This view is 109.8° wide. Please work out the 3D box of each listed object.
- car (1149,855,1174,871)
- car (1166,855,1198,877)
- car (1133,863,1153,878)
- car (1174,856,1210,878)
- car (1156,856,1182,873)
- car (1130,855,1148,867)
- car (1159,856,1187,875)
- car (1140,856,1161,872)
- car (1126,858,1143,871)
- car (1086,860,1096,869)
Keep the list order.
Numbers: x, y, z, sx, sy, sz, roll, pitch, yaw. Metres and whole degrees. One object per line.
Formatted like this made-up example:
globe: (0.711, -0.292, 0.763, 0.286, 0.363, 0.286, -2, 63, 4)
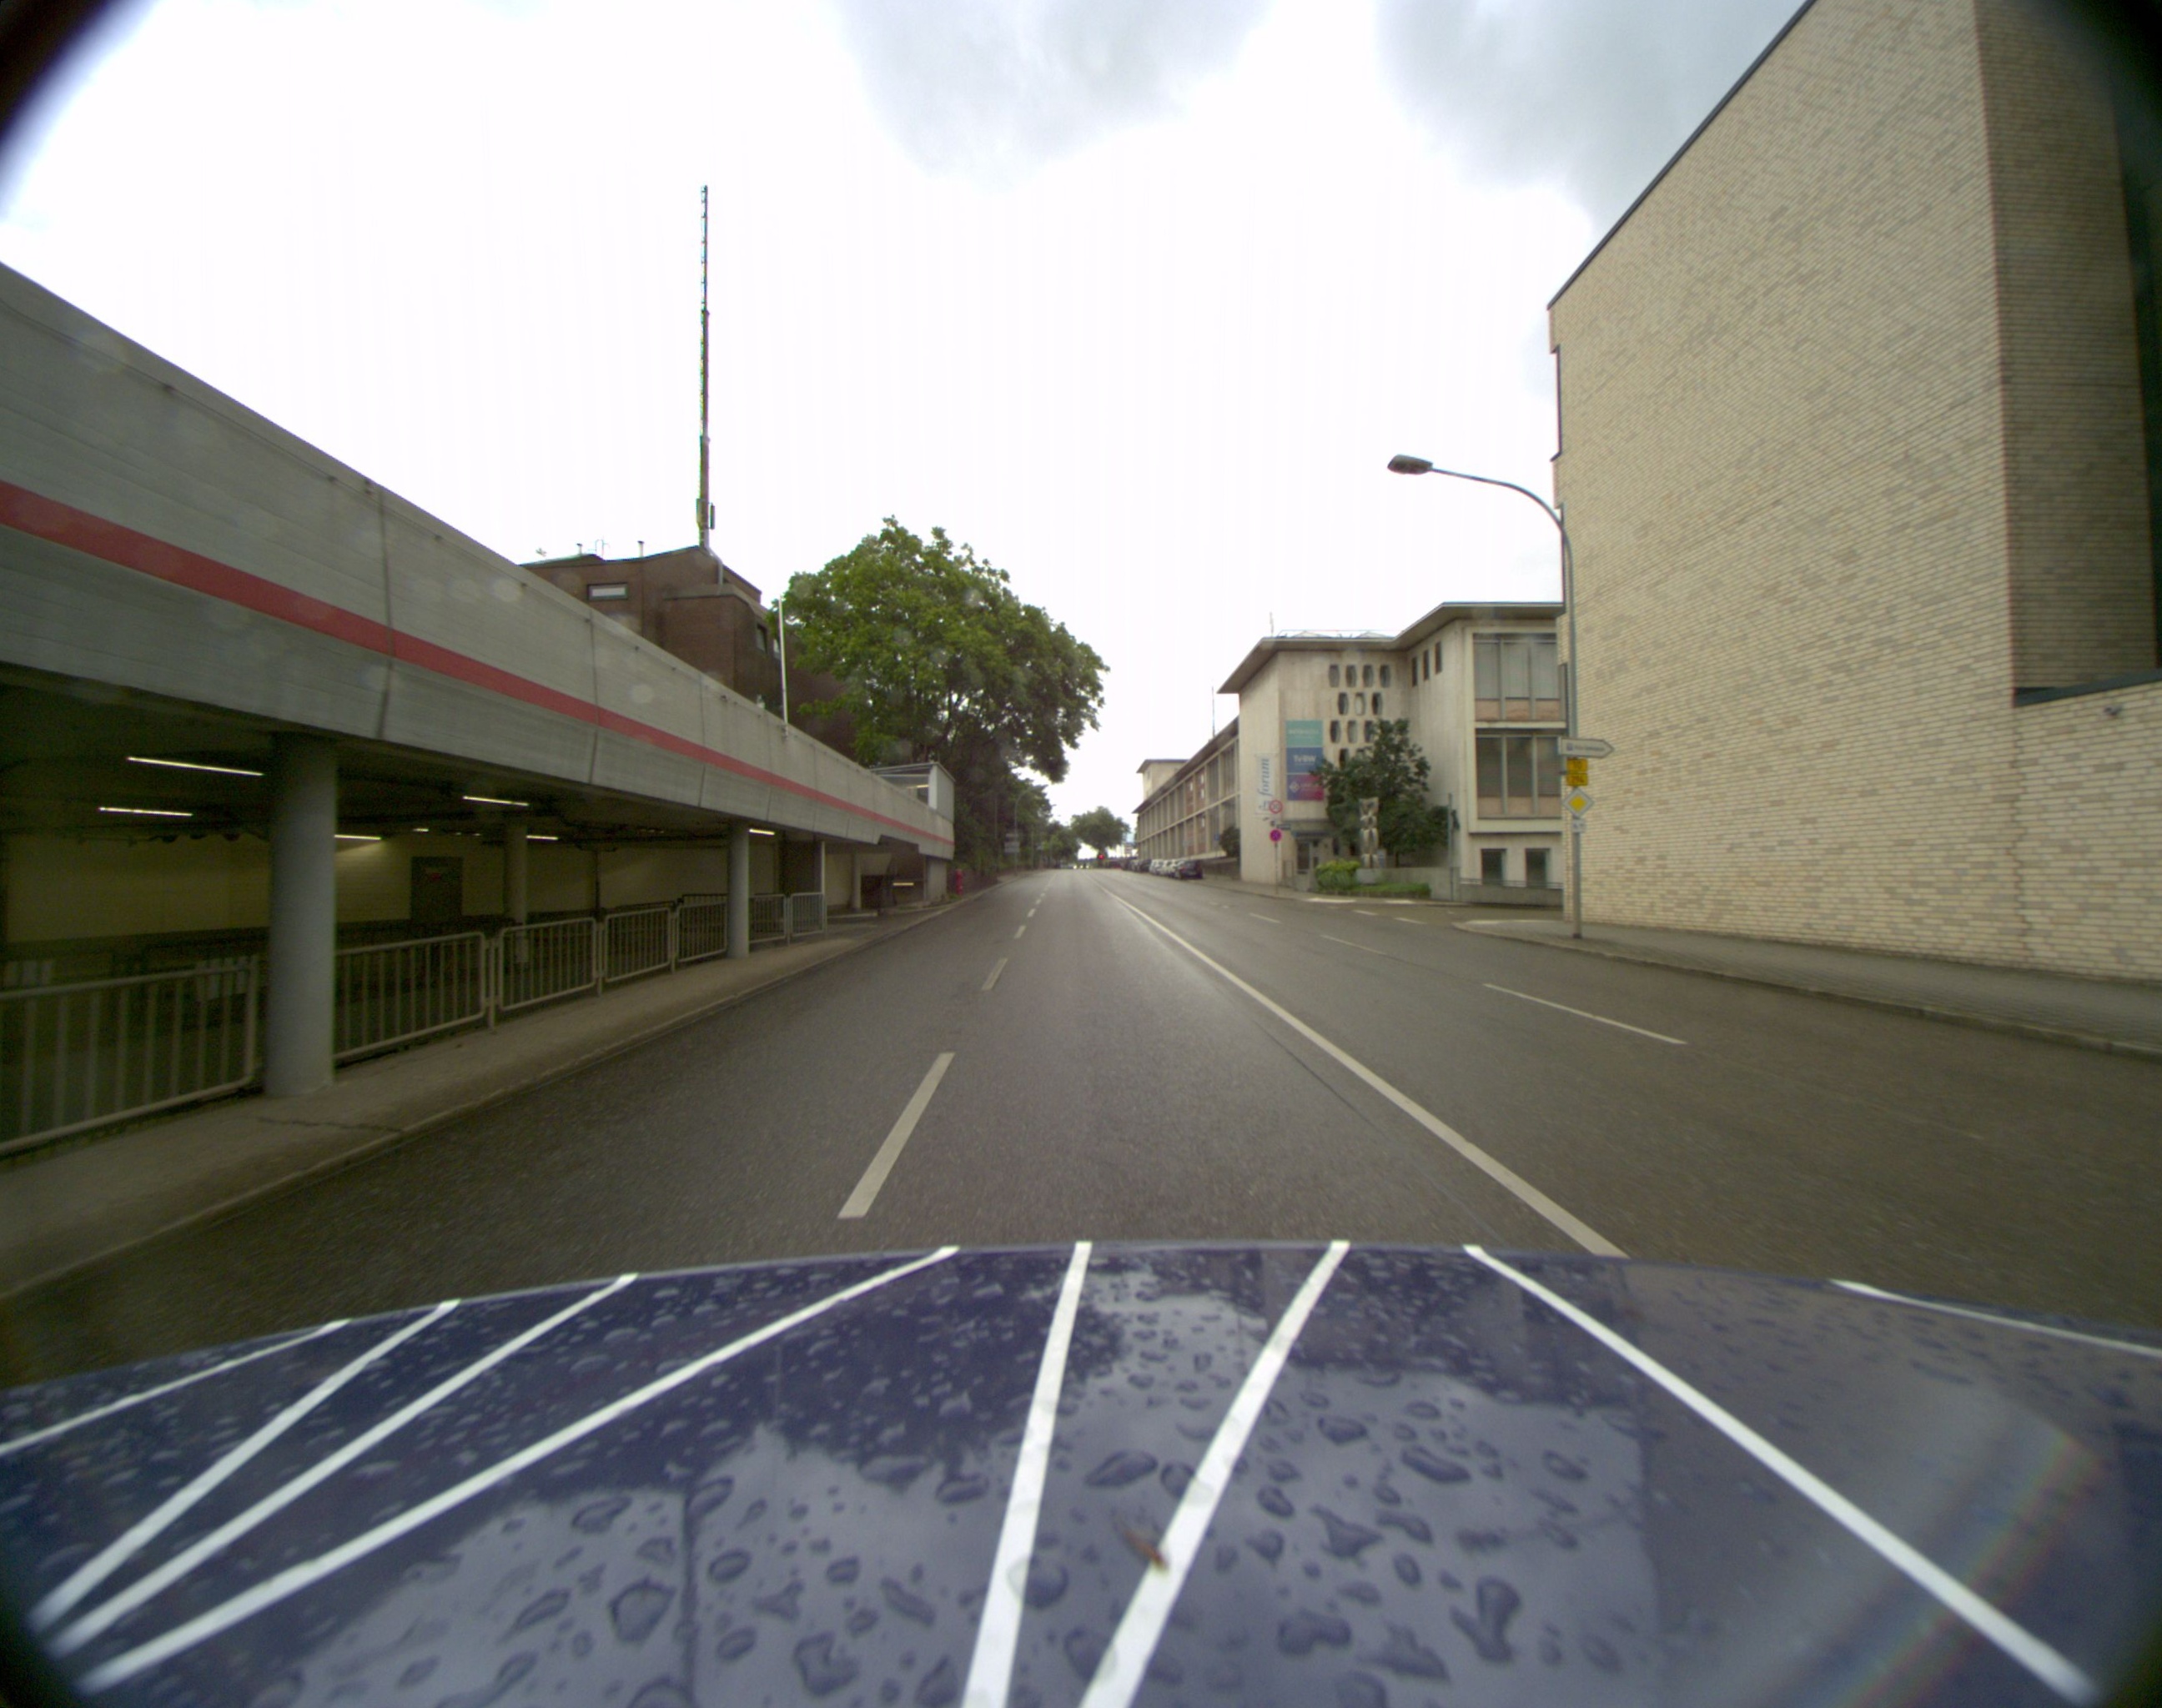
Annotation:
car: (8.588, 0.959, 81.340, 1.999, 1.521, 3.999, 2, 1, -2)
car: (8.549, 0.970, 64.542, 1.999, 1.632, 3.999, -3, 1, -1)
car: (7.768, 2.068, 95.540, 1.999, 1.724, 3.998, -3, 1, -2)
car: (8.587, 0.975, 59.204, 1.999, 1.520, 3.998, -3, 1, -3)
car: (8.646, 0.990, 75.013, 1.999, 1.482, 4.185, -3, 1, -1)
car: (8.060, 0.978, 106.301, 1.999, 1.528, 3.999, -3, 1, -1)
car: (8.451, 1.060, 70.067, 1.998, 1.503, 3.999, -3, 1, 0)
car: (8.185, 1.198, 89.729, 1.999, 1.702, 3.999, -3, 1, -1)
car: (7.738, 1.482, 110.877, 1.999, 1.637, 3.998, -4, 2, -2)
car: (2.361, 2.539, 180.187, 1.806, 2.002, 3.997, -3, 1, -6)
